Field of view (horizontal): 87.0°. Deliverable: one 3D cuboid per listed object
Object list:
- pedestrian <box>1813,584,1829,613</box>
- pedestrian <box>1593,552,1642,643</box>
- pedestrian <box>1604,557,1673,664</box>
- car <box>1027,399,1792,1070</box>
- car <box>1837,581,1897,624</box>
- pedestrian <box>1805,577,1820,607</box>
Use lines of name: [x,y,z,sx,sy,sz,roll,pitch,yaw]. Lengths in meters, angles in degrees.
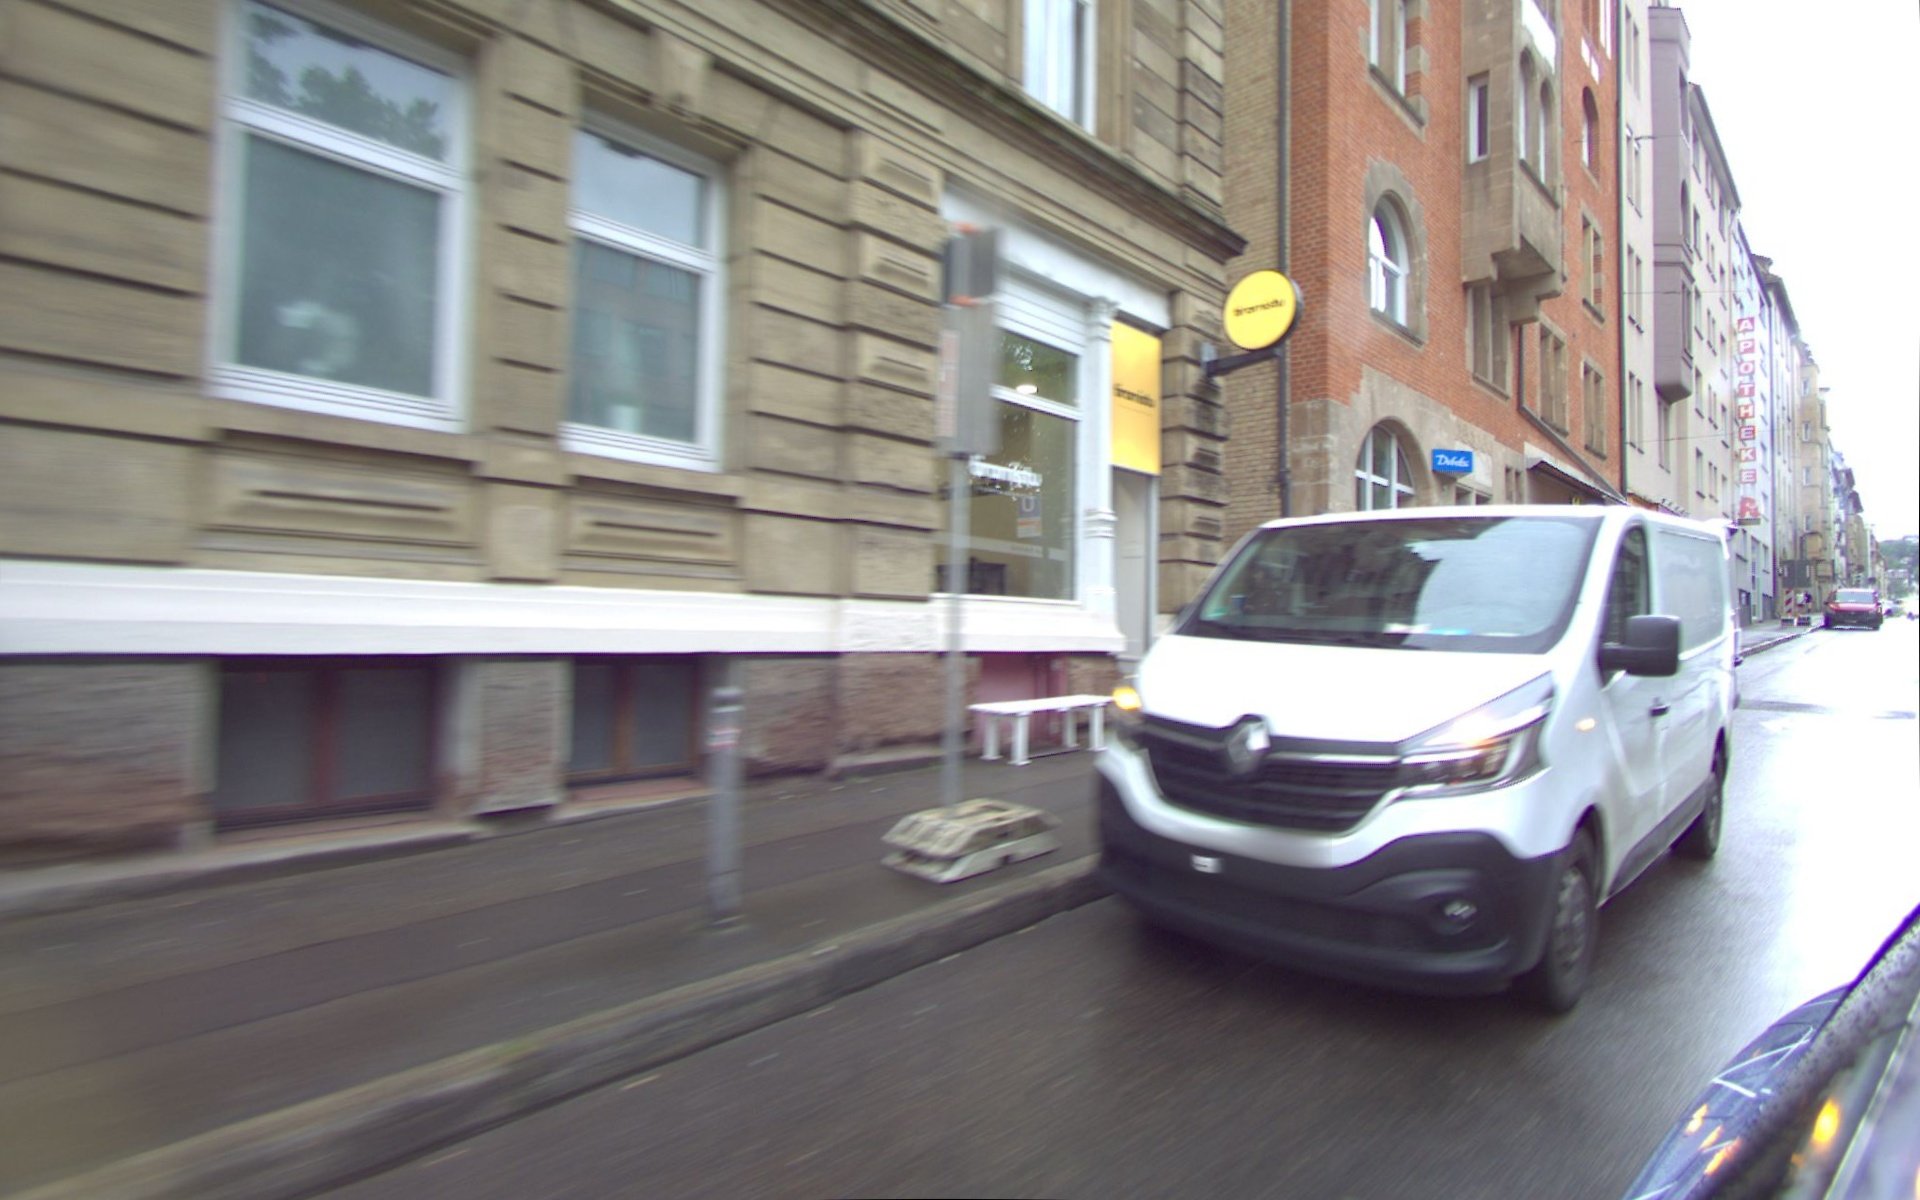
pedestrian: [55.038,-0.082,64.714,0.672,1.813,0.695,1,1,34]
pedestrian: [15.029,-0.067,23.137,0.778,2.039,0.923,1,1,44]
pedestrian: [11.519,0.163,17.189,0.815,1.761,0.778,1,1,45]
car: [3.029,0.363,5.639,5.893,1.929,1.821,-1,-1,-44]
car: [41.360,0.066,46.220,1.876,1.872,3.942,0,0,40]
pedestrian: [52.662,-0.488,62.519,0.675,1.813,0.692,1,1,44]
